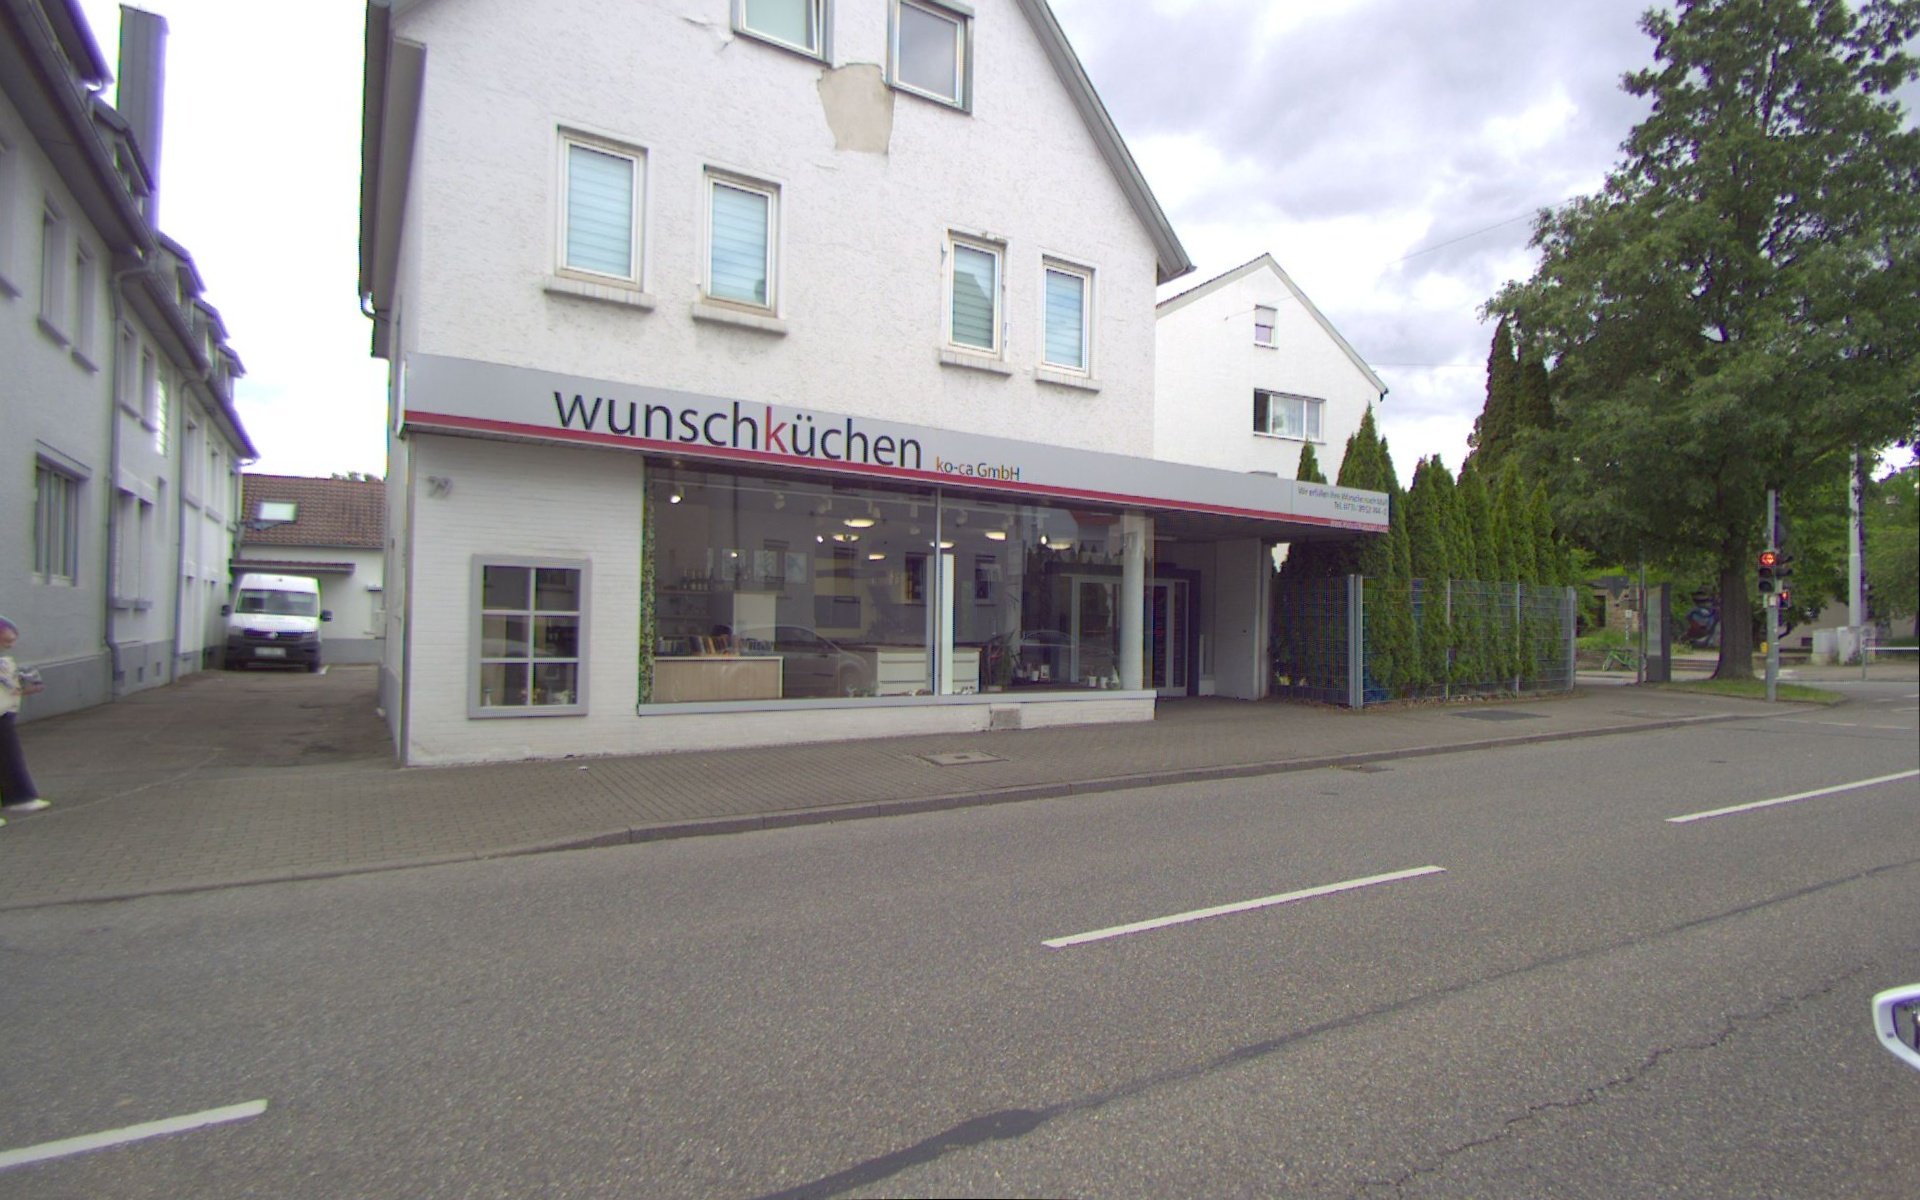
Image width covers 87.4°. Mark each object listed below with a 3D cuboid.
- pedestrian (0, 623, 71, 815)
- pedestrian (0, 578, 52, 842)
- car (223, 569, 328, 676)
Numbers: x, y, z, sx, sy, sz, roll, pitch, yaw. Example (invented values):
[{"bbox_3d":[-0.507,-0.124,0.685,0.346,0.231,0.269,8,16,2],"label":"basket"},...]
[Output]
[{"bbox_3d":[-6.815,0.820,7.115,0.647,1.297,0.596,1,1,-31],"label":"pedestrian"},{"bbox_3d":[-6.485,0.682,6.475,0.784,1.638,0.747,1,2,-31],"label":"pedestrian"},{"bbox_3d":[-18.599,0.566,27.526,1.938,2.541,5.943,4,-2,-32],"label":"car"}]
